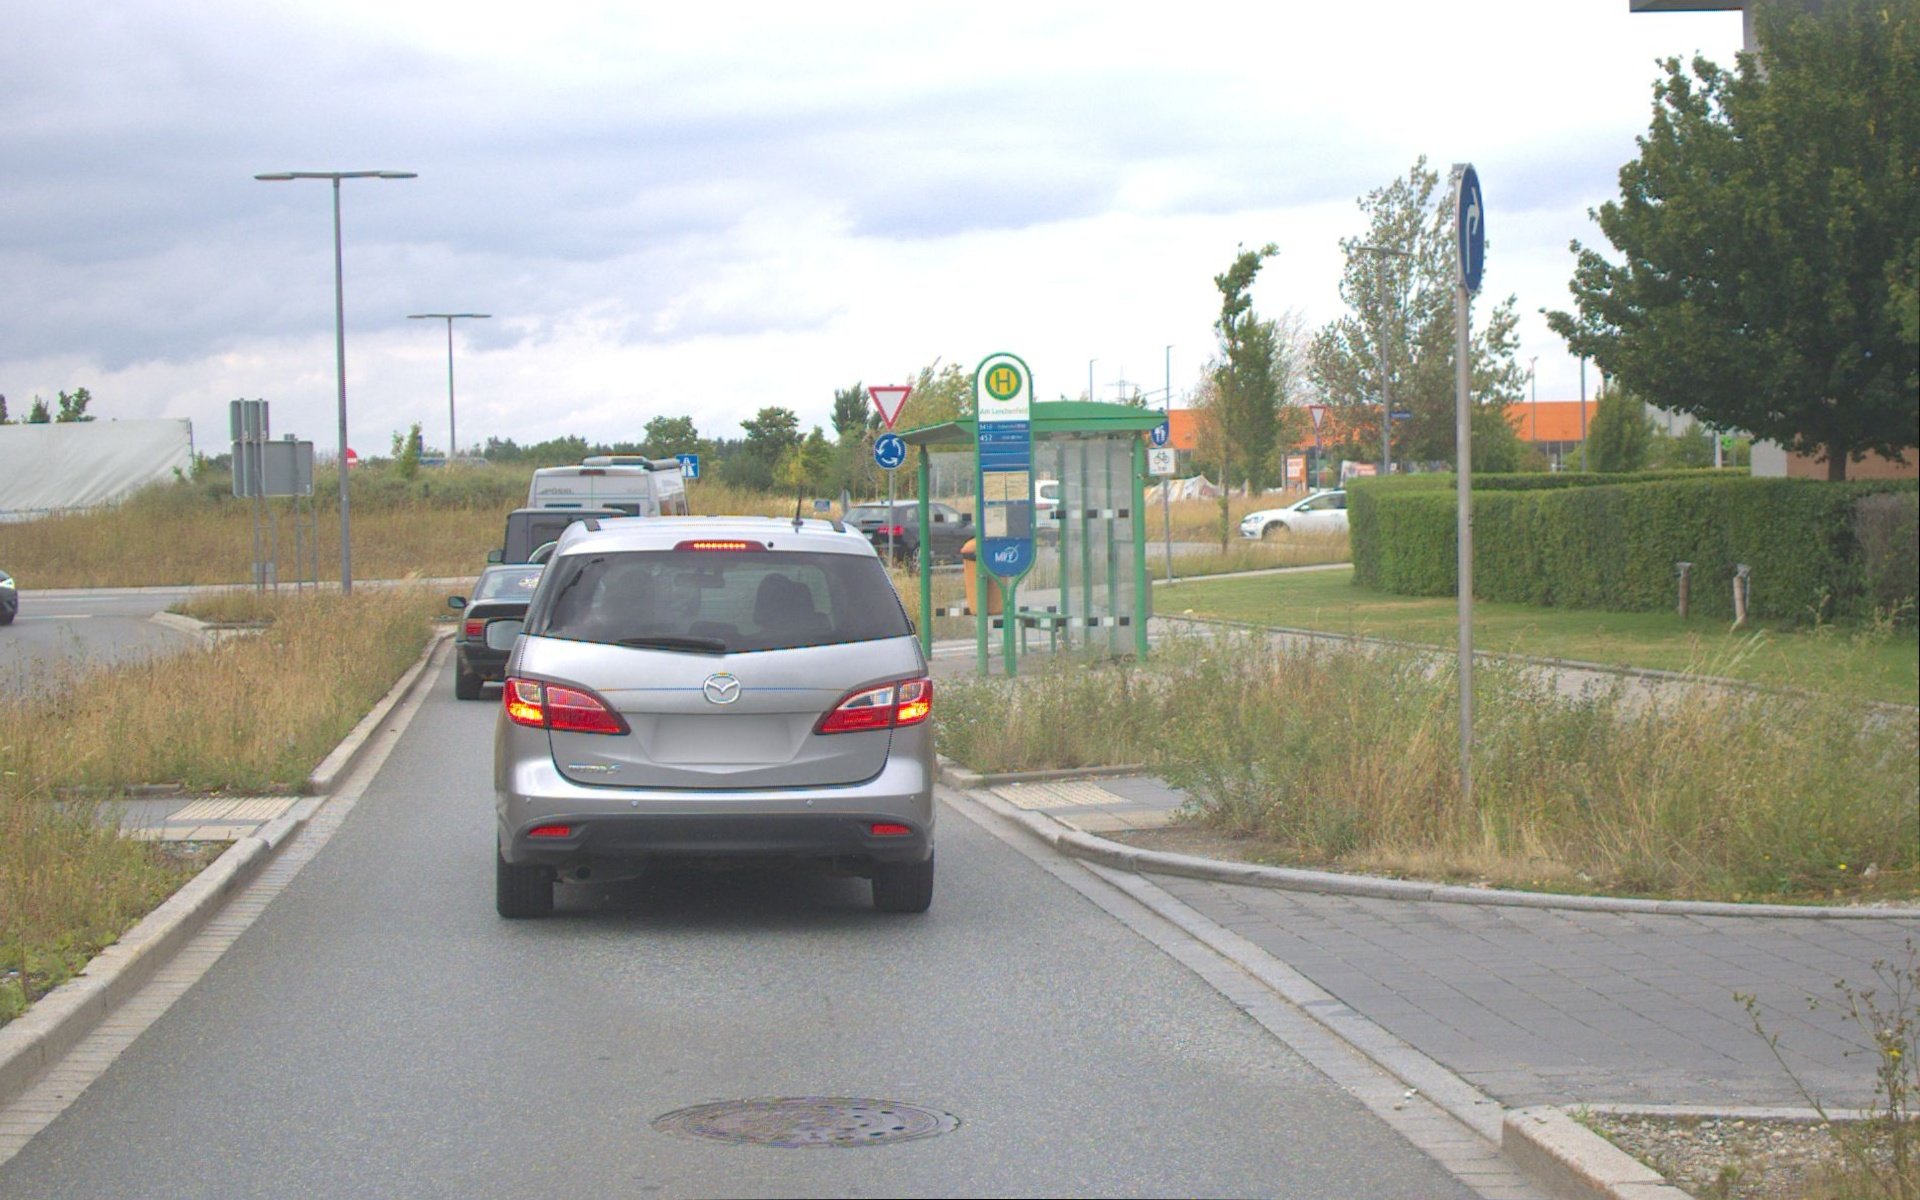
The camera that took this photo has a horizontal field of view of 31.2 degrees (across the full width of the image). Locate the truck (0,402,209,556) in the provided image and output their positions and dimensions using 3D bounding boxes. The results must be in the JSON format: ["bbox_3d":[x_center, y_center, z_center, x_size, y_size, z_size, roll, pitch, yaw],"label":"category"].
[{"bbox_3d":[-24.440,-3.100,88.678,9.305,3.893,3.143,-2,1,-31],"label":"truck"}]

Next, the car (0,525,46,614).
[{"bbox_3d":[-16.767,-0.448,57.148,1.841,1.402,4.000,-4,2,-33],"label":"car"}]

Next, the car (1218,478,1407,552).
[{"bbox_3d":[8.761,-2.117,85.724,4.602,1.751,2.000,-1,1,4],"label":"car"}]

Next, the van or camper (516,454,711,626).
[{"bbox_3d":[-5.247,-0.941,52.820,2.303,2.497,5.206,0,1,2],"label":"van or camper"}]

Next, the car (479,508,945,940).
[{"bbox_3d":[-1.116,0.410,14.702,1.729,1.594,3.808,0,2,-6],"label":"car"}]

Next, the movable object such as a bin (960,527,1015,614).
[{"bbox_3d":[0.259,-0.278,32.159,0.456,0.795,0.380,-1,1,-7],"label":"movable object such as a bin"}]

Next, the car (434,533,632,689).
[{"bbox_3d":[-4.287,0.059,35.022,1.844,1.413,4.226,-1,2,-5],"label":"car"}]

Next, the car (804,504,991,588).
[{"bbox_3d":[-1.163,-1.044,65.658,1.996,1.510,3.995,-1,1,25],"label":"car"}]

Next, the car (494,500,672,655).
[{"bbox_3d":[-4.709,-0.323,43.511,2.058,1.819,4.787,-1,1,-4],"label":"car"}]
